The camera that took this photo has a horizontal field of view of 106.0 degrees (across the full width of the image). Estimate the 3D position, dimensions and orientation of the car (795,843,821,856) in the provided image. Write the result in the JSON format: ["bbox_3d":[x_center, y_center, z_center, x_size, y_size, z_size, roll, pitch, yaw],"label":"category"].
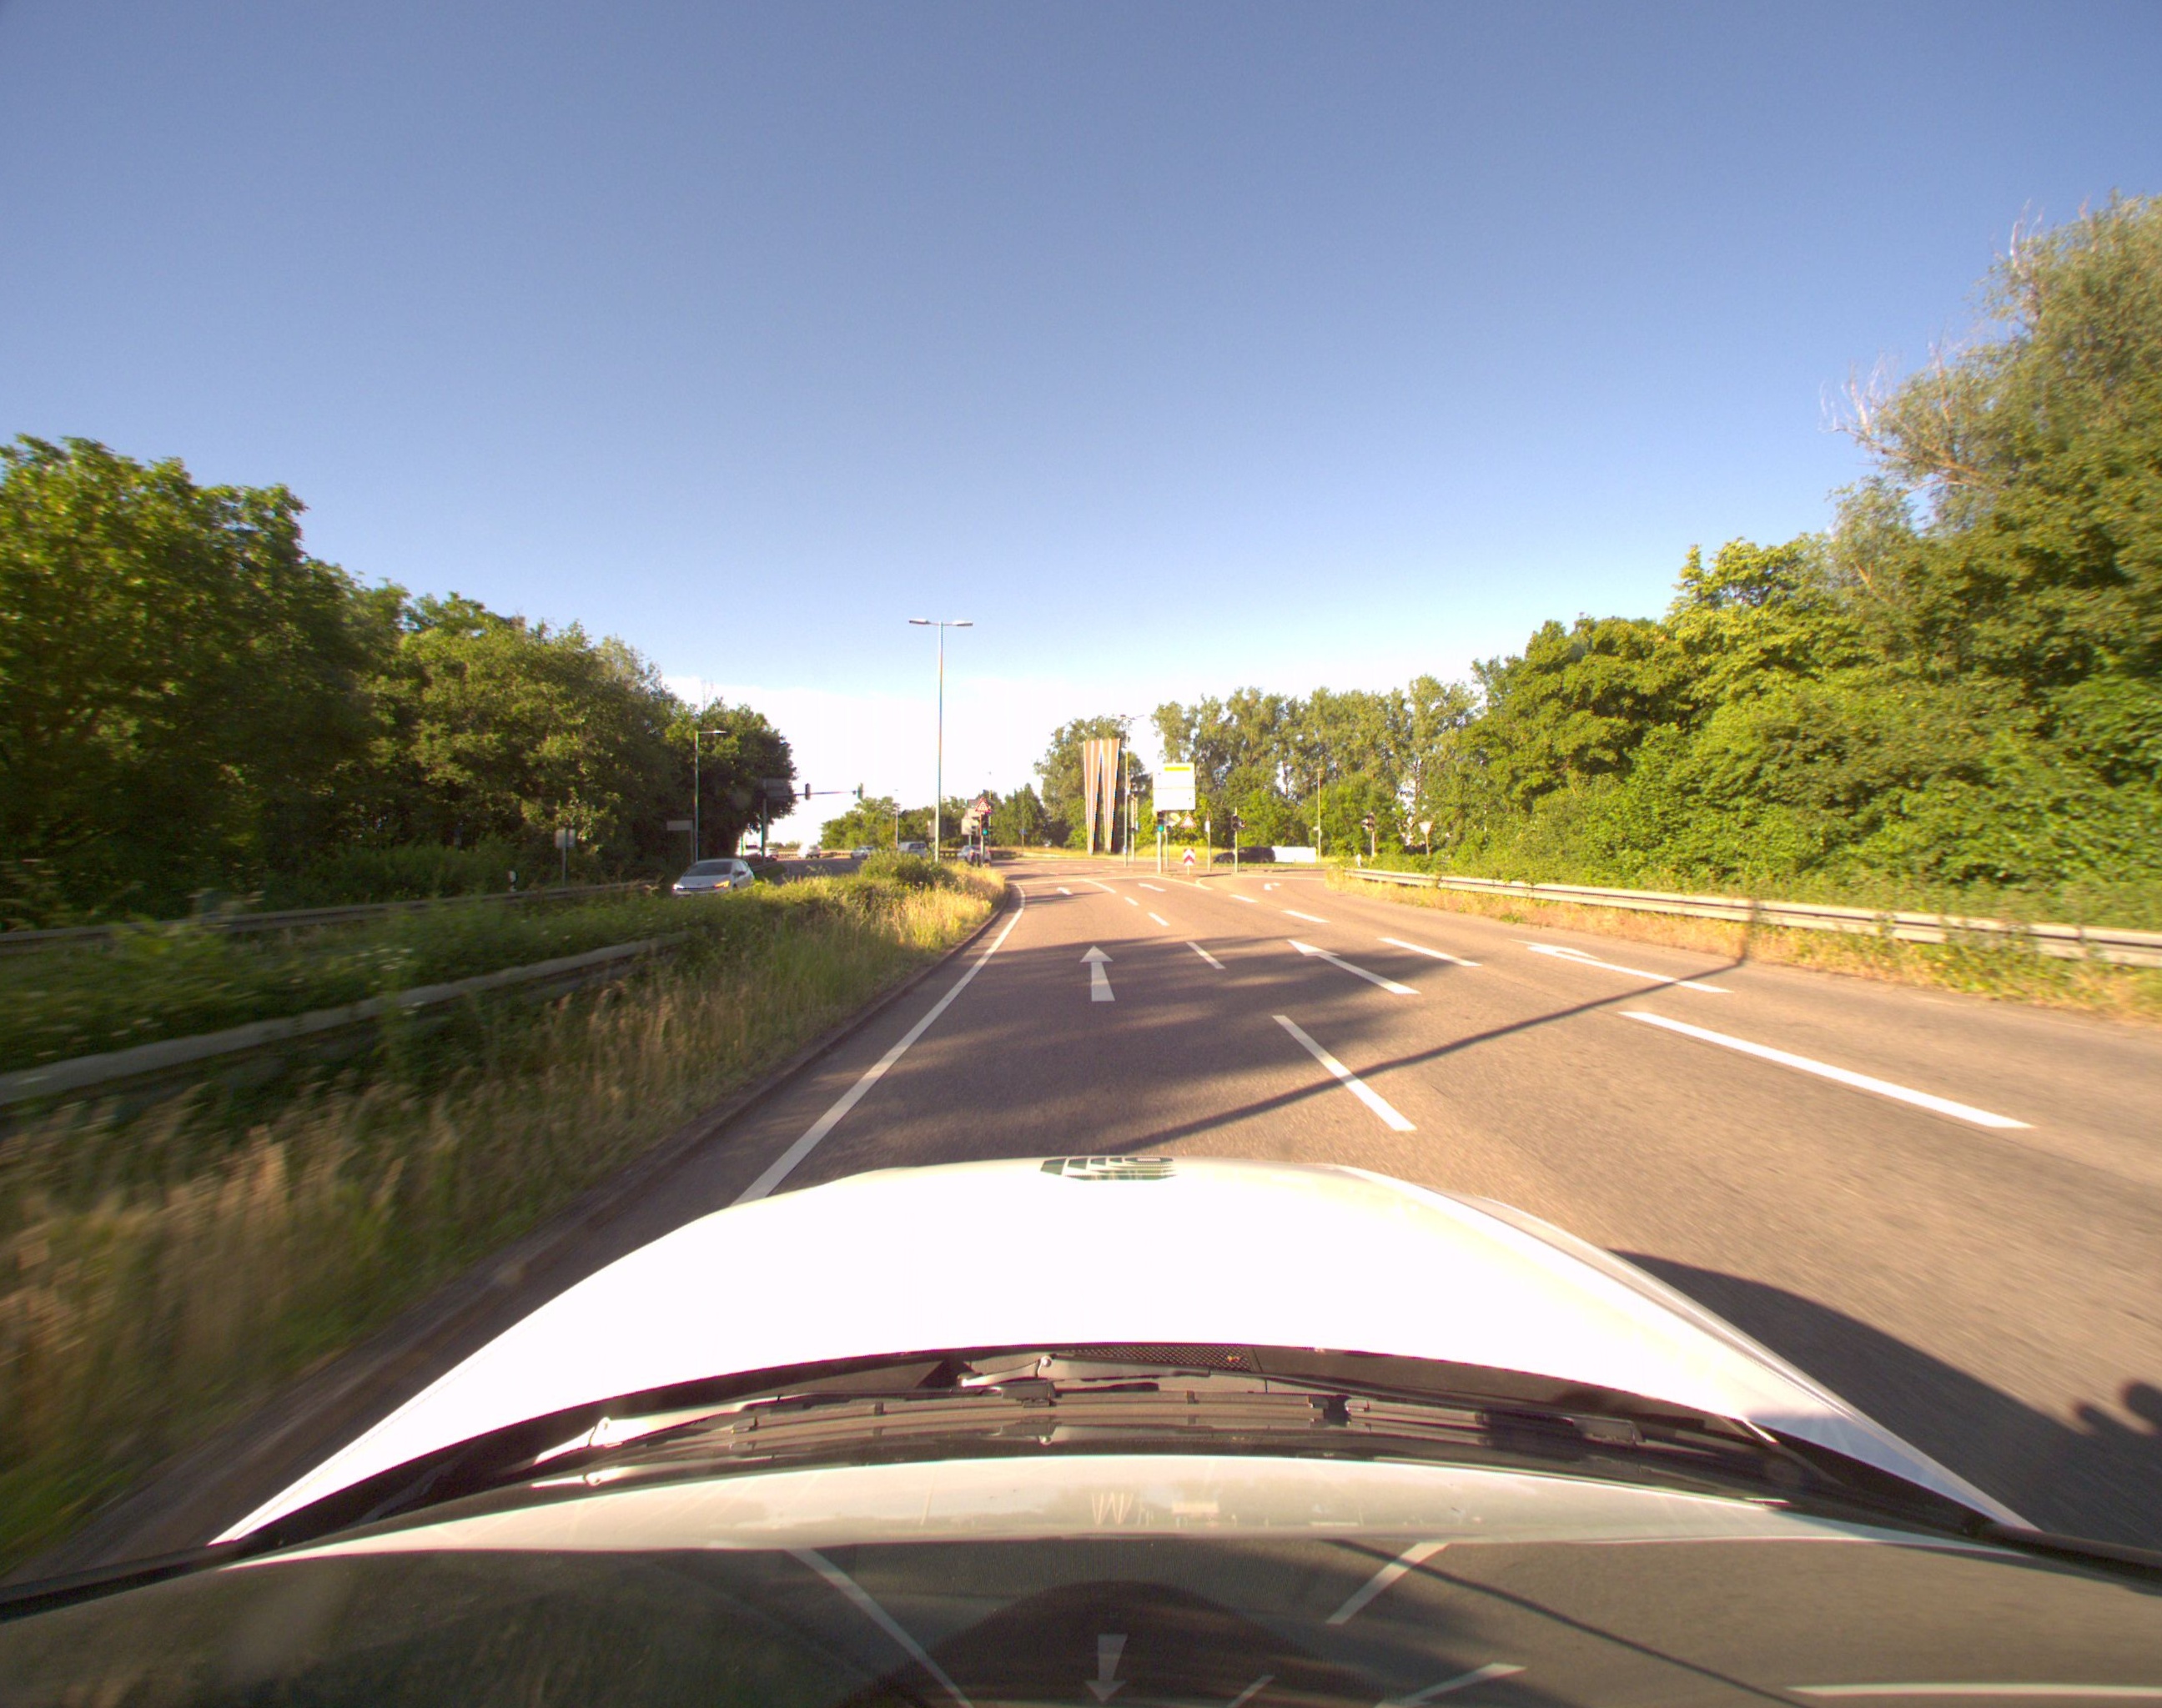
[{"bbox_3d":[-35.016,-0.608,104.466,1.985,1.698,3.954,-1,1,-38],"label":"car"}]

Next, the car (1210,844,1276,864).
[{"bbox_3d":[11.995,-0.036,60.418,4.452,1.464,1.996,0,1,-6],"label":"car"}]

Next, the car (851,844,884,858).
[{"bbox_3d":[-24.488,-0.376,93.207,1.986,1.474,4.105,-1,1,-41],"label":"car"}]

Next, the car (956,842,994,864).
[{"bbox_3d":[-8.489,-0.071,64.762,2.002,1.640,4.097,-1,1,-23],"label":"car"}]

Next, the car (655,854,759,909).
[{"bbox_3d":[-11.738,0.808,25.883,1.885,1.520,4.204,-1,1,-9],"label":"car"}]

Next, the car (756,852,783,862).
[{"bbox_3d":[-45.496,0.414,118.905,2.287,1.508,3.950,0,0,-45],"label":"car"}]

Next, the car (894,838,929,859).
[{"bbox_3d":[-16.189,-0.510,77.668,2.007,1.879,4.207,-1,1,-32],"label":"car"}]
